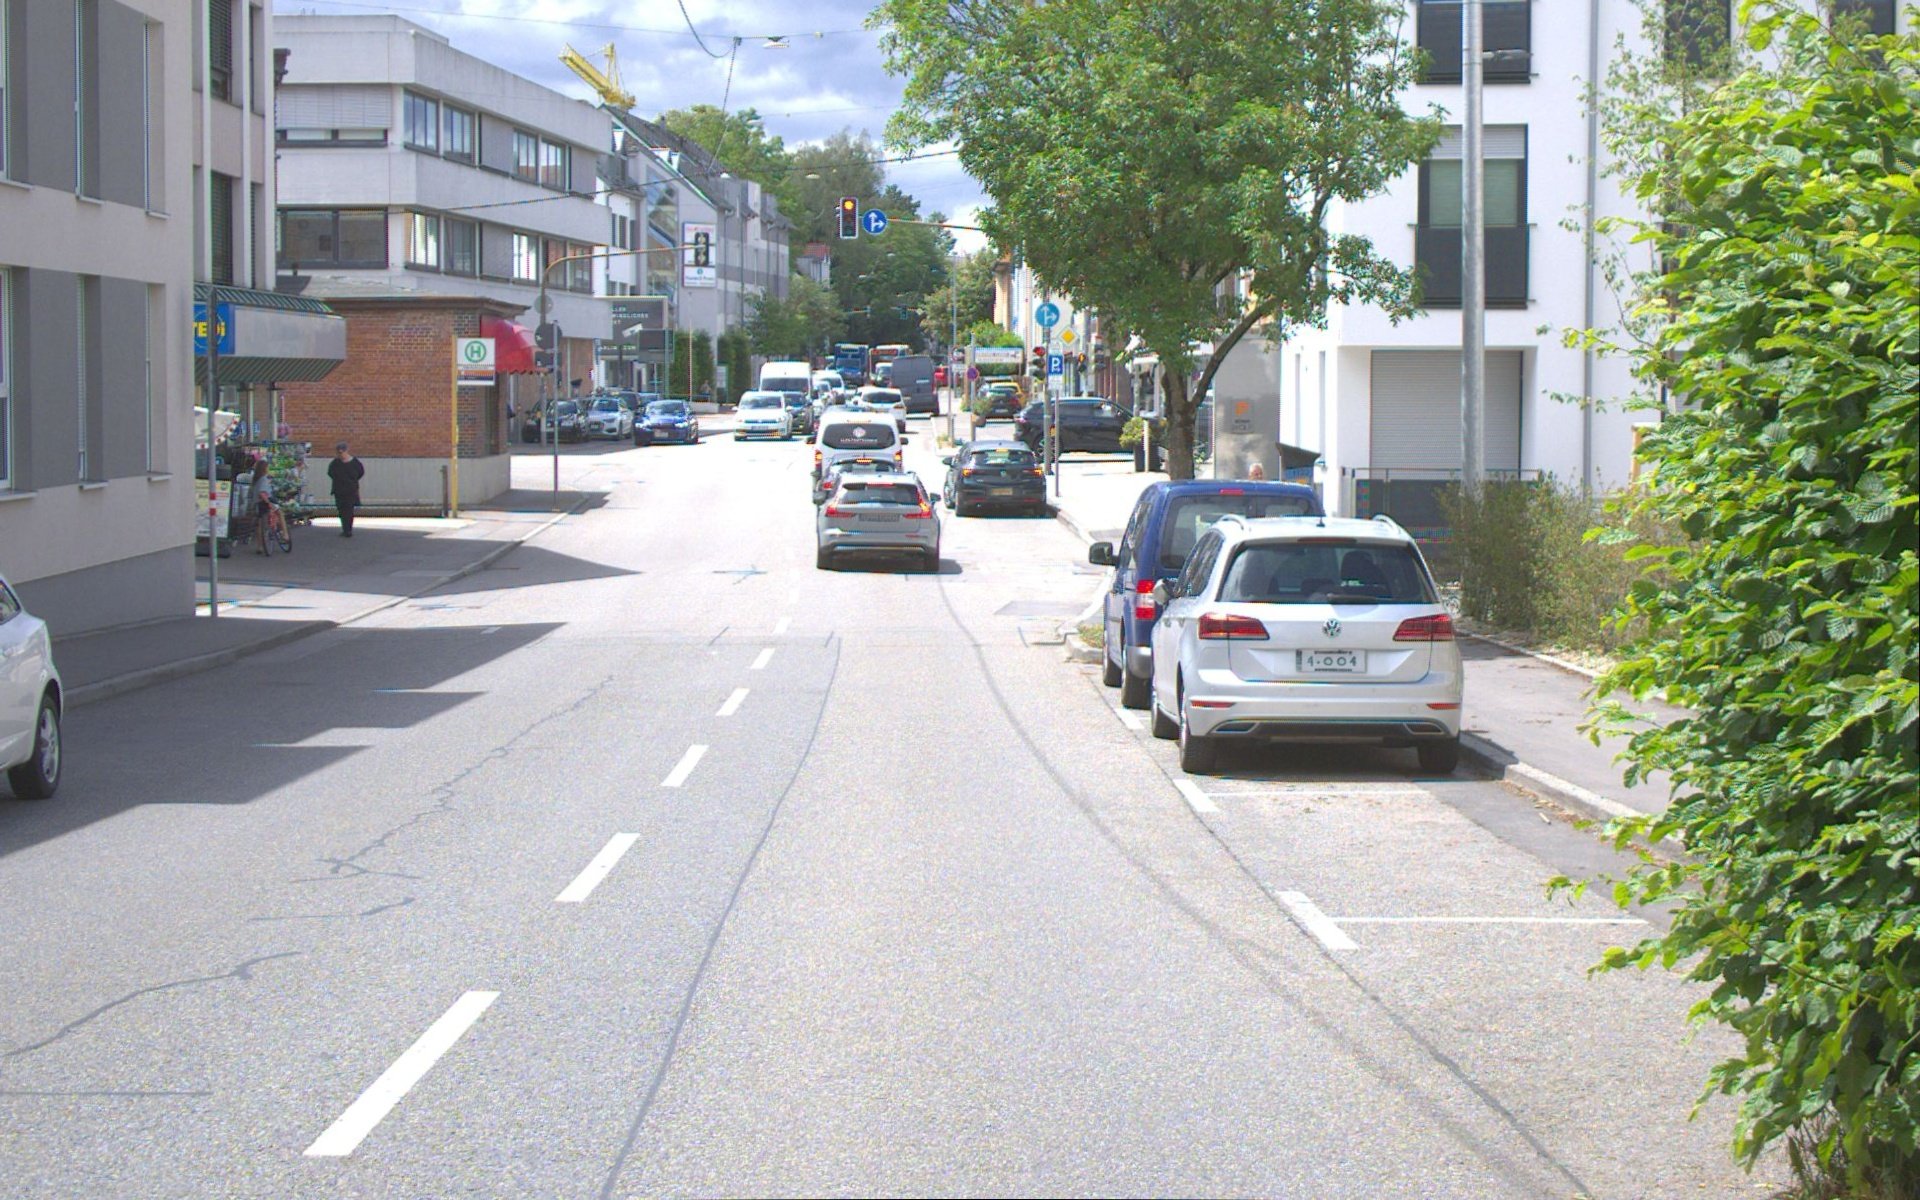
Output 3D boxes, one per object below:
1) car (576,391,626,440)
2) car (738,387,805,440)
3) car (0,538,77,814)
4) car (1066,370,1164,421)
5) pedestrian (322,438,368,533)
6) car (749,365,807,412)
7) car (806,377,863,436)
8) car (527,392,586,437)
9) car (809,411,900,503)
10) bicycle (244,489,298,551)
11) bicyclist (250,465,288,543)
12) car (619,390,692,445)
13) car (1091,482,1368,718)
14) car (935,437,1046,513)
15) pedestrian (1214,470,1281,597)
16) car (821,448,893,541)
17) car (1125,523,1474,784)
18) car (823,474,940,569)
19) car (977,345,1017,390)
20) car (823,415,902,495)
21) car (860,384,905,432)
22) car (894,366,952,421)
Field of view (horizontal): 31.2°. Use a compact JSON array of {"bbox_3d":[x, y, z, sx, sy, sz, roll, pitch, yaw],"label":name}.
[{"bbox_3d":[-12.152,-6.228,116.380,1.384,1.535,3.399,0,1,-1],"label":"car"},{"bbox_3d":[-6.324,-6.260,115.656,1.873,1.634,4.000,2,2,1],"label":"car"},{"bbox_3d":[-5.805,0.399,17.628,1.647,1.414,3.699,1,2,-1],"label":"car"},{"bbox_3d":[5.369,-7.048,118.559,1.574,1.609,3.654,3,2,36],"label":"car"},{"bbox_3d":[-10.412,-1.938,58.200,0.628,1.597,0.563,1,2,4],"label":"pedestrian"},{"bbox_3d":[-6.876,-7.981,130.110,1.873,1.634,4.000,1,1,1],"label":"car"},{"bbox_3d":[-3.787,-5.869,104.517,1.635,1.650,3.851,1,2,-1],"label":"car"},{"bbox_3d":[-13.049,-5.995,111.280,1.551,1.371,3.399,0,1,-1],"label":"car"},{"bbox_3d":[-2.216,-3.011,72.718,1.836,1.855,3.851,1,2,-1],"label":"car"},{"bbox_3d":[-10.451,-1.221,52.185,0.467,0.858,1.777,2,4,-1],"label":"bicycle"},{"bbox_3d":[-10.488,-1.461,52.186,0.458,1.175,0.625,0,2,-1],"label":"bicyclist"},{"bbox_3d":[-9.907,-5.919,112.021,1.873,1.634,4.000,2,2,1],"label":"car"},{"bbox_3d":[2.131,-0.067,28.355,1.844,1.761,4.515,1,2,-1],"label":"car"},{"bbox_3d":[0.586,-2.523,68.881,1.752,1.366,4.002,0,4,-6],"label":"car"},{"bbox_3d":[3.770,-0.881,45.113,0.736,1.641,0.616,-1,2,-8],"label":"pedestrian"},{"bbox_3d":[-1.869,-1.940,62.451,1.273,1.522,3.051,0,5,-1],"label":"car"},{"bbox_3d":[2.130,0.270,22.683,1.786,1.504,4.365,1,2,-1],"label":"car"},{"bbox_3d":[-1.202,-1.251,53.386,1.744,1.412,4.001,0,2,-1],"label":"car"},{"bbox_3d":[1.771,-11.242,166.322,1.802,2.007,4.000,0,1,-1],"label":"car"},{"bbox_3d":[-2.349,-3.512,83.559,1.836,1.855,3.851,1,2,-1],"label":"car"},{"bbox_3d":[-2.859,-7.129,127.835,1.635,1.650,3.851,1,2,-1],"label":"car"},{"bbox_3d":[-1.664,-9.163,152.900,2.436,2.310,5.327,2,2,-1],"label":"car"}]
